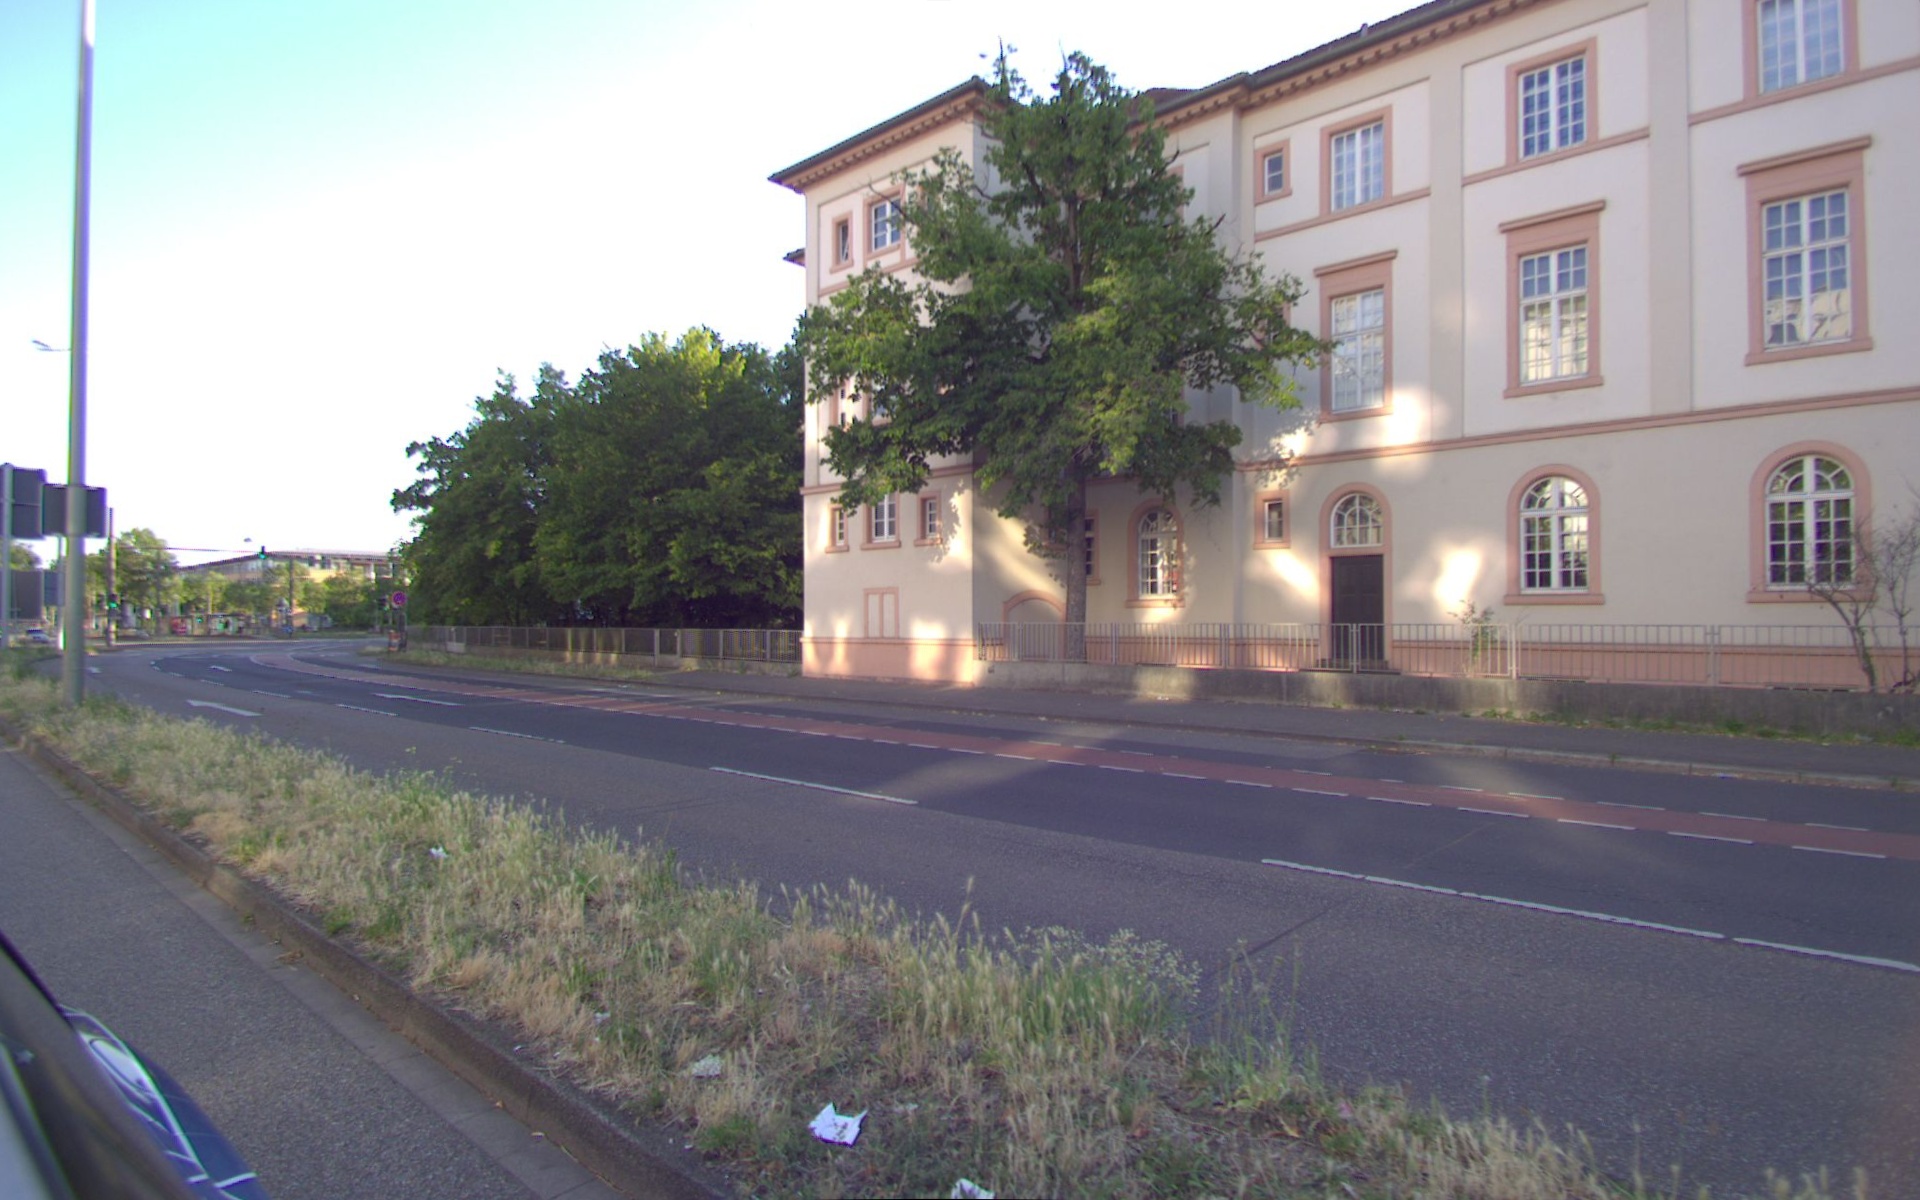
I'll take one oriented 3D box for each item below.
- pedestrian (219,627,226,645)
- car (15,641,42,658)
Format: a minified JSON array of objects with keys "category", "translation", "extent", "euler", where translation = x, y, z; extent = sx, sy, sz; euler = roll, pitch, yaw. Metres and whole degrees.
[{"category":"pedestrian","translation":[-85.174,4.169,116.905],"extent":[0.664,2.029,0.549],"euler":[-2,-2,41]},{"category":"car","translation":[-86.284,4.609,93.751],"extent":[1.650,1.429,4.447],"euler":[0,-1,-40]}]
